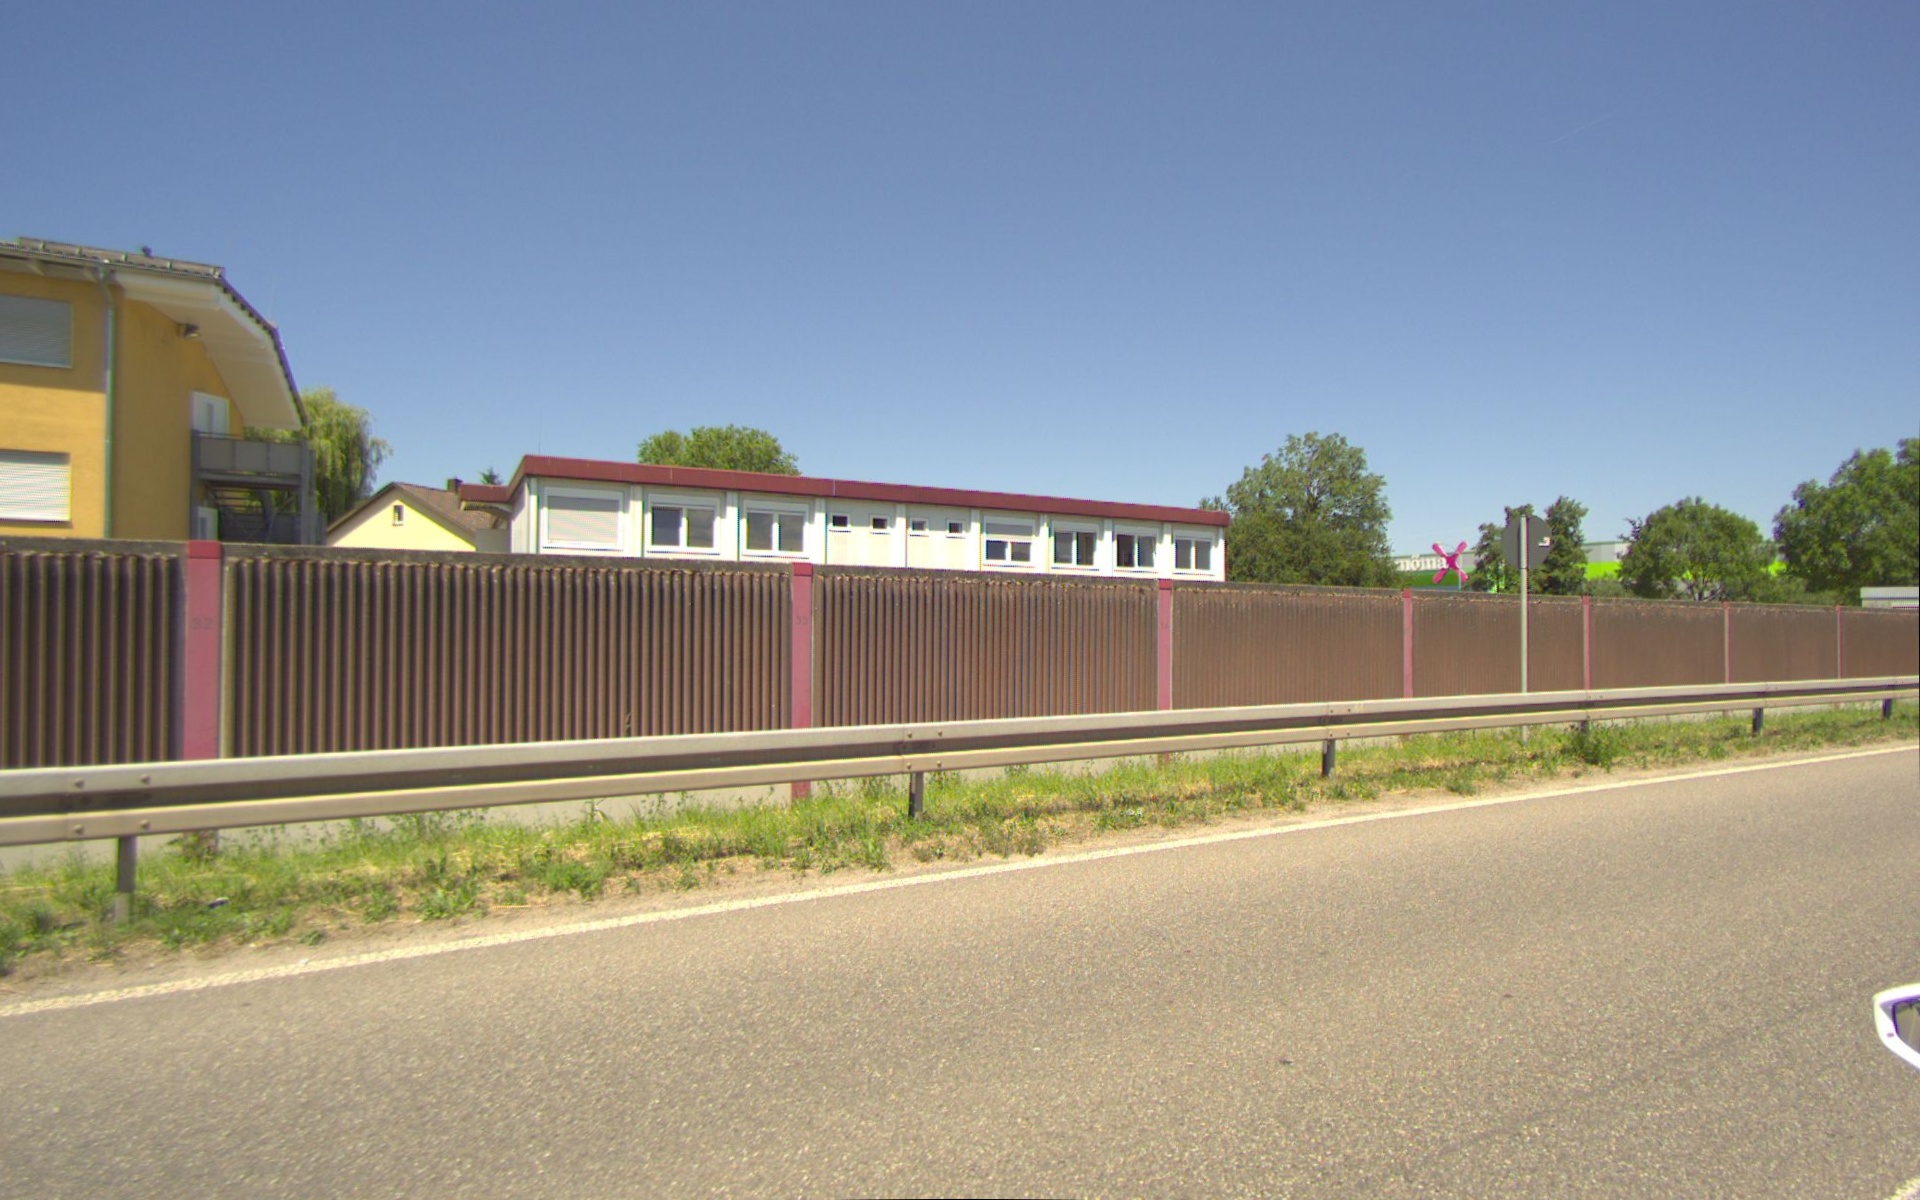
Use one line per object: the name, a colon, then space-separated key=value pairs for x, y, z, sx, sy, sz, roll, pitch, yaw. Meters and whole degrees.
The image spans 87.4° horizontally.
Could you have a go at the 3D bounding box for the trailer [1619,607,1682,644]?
trailer: x=54.635 y=2.006 z=79.490 sx=3.683 sy=2.801 sz=1.827 roll=1 pitch=-1 yaw=16
